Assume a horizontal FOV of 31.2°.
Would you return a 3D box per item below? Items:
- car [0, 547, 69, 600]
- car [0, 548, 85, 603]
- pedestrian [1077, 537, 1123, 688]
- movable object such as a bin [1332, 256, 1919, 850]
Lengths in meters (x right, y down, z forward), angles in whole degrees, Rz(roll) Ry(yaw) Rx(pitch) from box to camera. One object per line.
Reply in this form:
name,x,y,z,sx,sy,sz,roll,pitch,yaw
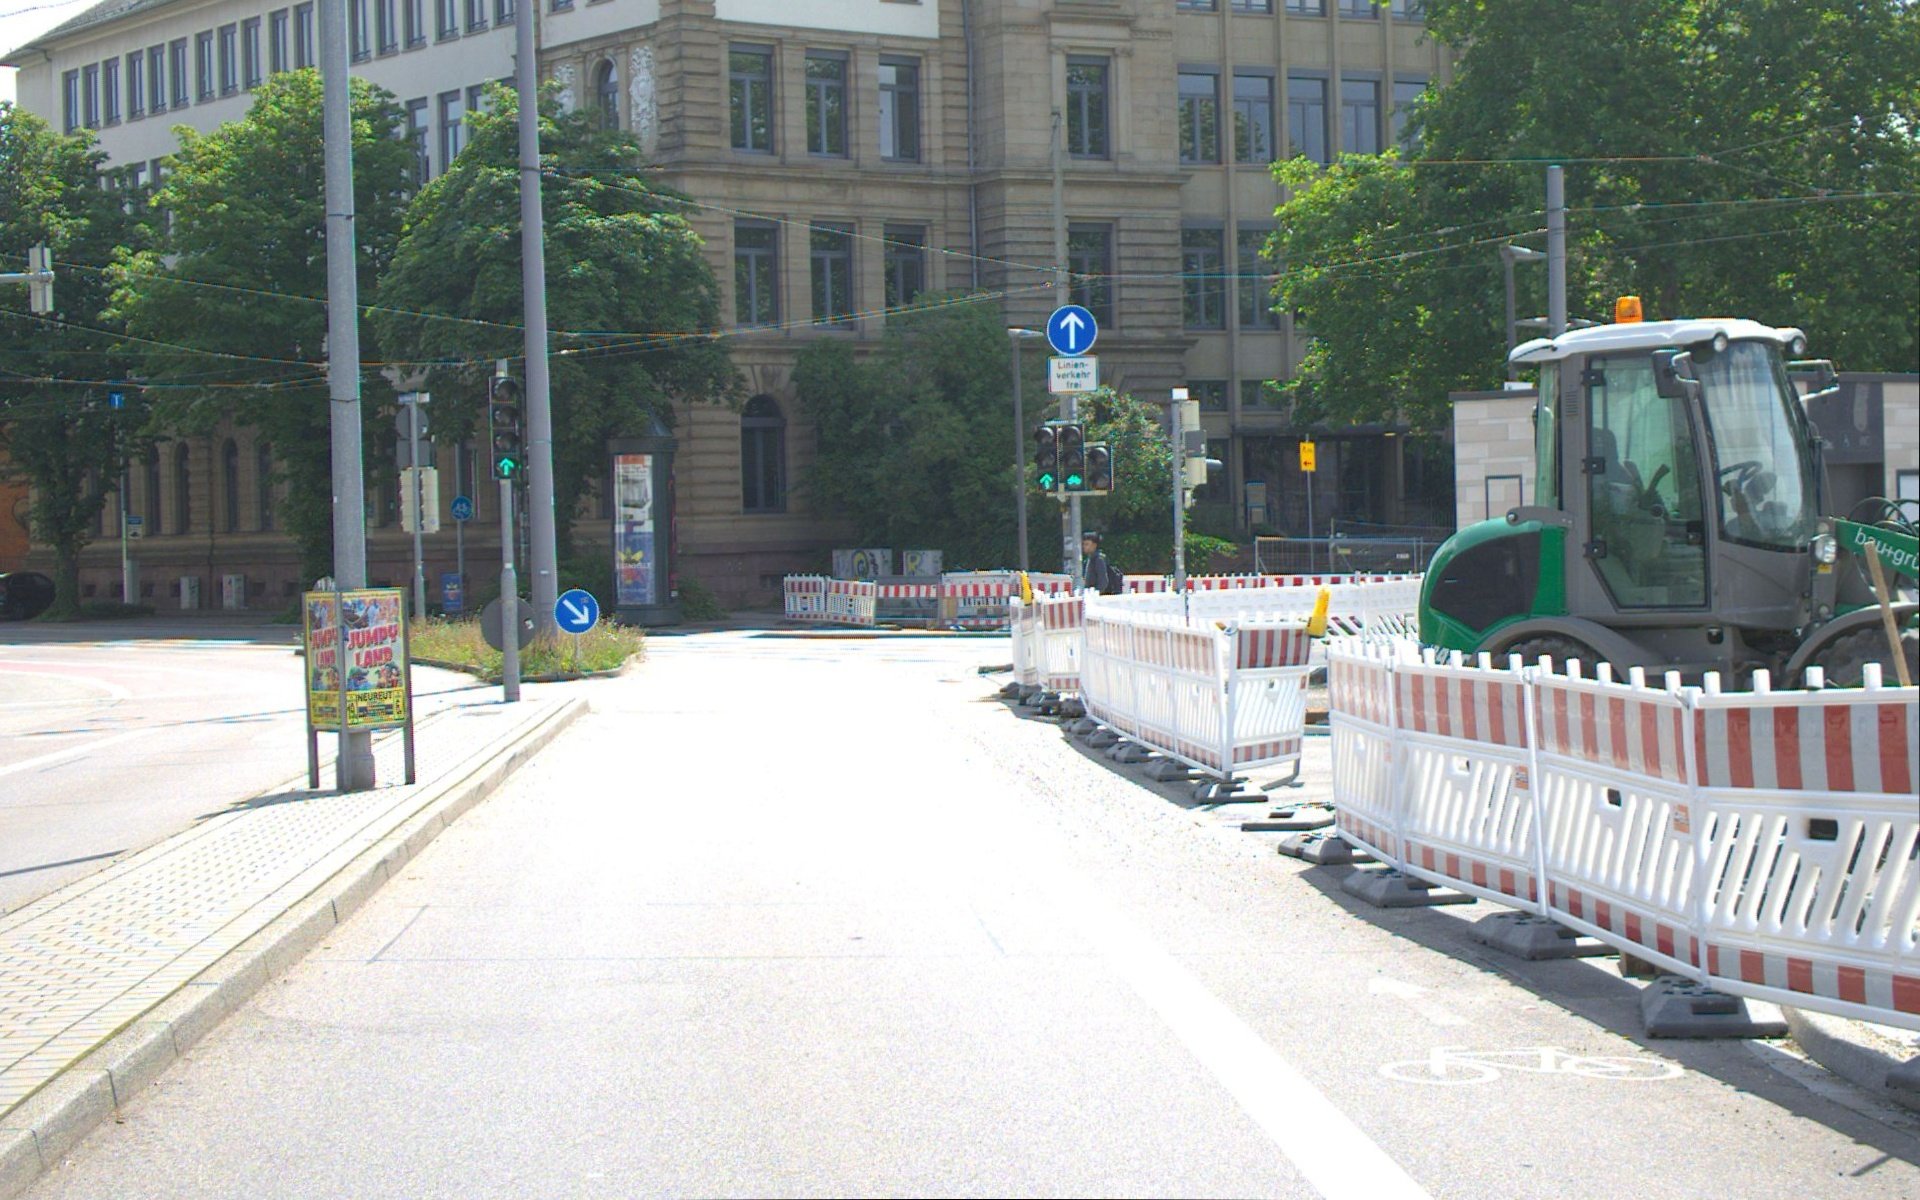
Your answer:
car,-31.006,-0.846,111.352,3.986,1.678,1.803,-1,1,-9
car,-29.920,-0.768,109.072,3.986,1.678,1.803,-1,1,-9
pedestrian,1.730,0.151,42.402,0.498,1.844,0.529,-1,1,7
movable object such as a bin,4.875,-0.257,18.005,5.538,2.875,2.282,0,2,44
